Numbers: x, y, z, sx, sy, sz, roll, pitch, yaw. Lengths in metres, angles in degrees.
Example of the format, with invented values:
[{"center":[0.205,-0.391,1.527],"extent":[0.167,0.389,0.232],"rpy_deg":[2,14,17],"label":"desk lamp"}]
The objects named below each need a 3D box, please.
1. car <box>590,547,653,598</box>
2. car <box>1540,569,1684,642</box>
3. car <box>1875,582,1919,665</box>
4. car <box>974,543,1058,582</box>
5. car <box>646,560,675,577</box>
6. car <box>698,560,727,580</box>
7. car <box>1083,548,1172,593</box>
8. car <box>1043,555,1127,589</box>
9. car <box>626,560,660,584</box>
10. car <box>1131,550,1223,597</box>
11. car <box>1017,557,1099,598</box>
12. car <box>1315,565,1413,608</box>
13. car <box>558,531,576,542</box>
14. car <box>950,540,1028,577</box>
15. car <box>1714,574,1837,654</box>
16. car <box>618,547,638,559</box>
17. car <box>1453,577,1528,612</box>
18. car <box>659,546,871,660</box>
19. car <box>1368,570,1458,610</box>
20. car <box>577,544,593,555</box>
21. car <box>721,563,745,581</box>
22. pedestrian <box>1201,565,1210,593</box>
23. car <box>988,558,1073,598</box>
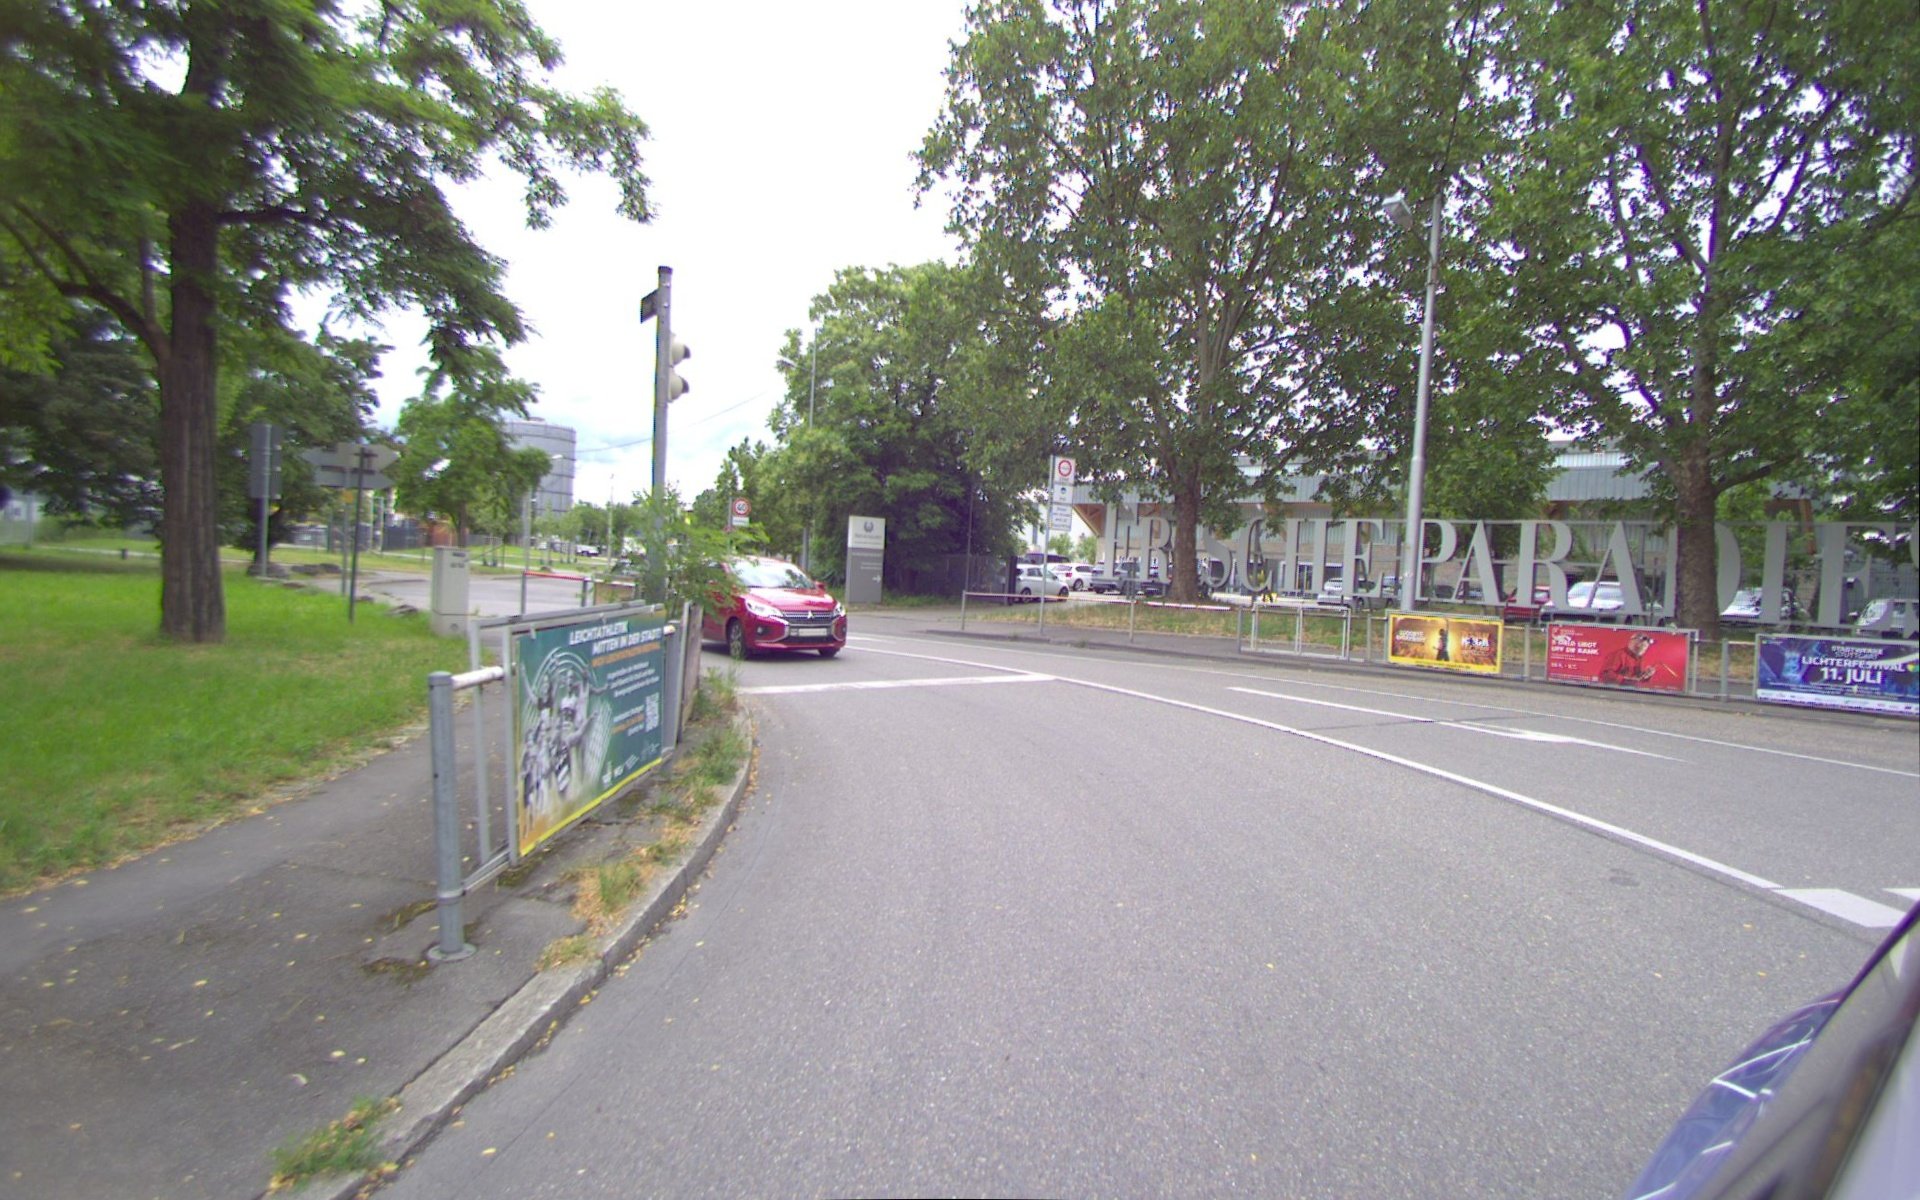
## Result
[{"center":[-12.326,-0.997,36.703],"extent":[1.811,1.656,4.194],"rpy_deg":[4,0,-22],"label":"car"},{"center":[17.010,0.169,26.310],"extent":[4.445,1.633,1.882],"rpy_deg":[3,2,-41],"label":"car"},{"center":[20.887,0.554,21.618],"extent":[3.932,1.633,1.589],"rpy_deg":[2,2,-43],"label":"car"},{"center":[3.364,-2.241,60.369],"extent":[5.014,2.023,1.997],"rpy_deg":[2,2,-42],"label":"car"},{"center":[-30.301,-3.221,102.283],"extent":[2.007,1.554,3.949],"rpy_deg":[-1,4,-29],"label":"car"},{"center":[-18.881,-2.304,77.229],"extent":[1.682,1.424,3.376],"rpy_deg":[3,1,-6],"label":"car"},{"center":[8.623,-1.513,51.885],"extent":[4.560,2.038,1.997],"rpy_deg":[2,2,-42],"label":"car"},{"center":[6.783,-1.516,54.638],"extent":[4.560,1.577,1.997],"rpy_deg":[2,2,-42],"label":"car"},{"center":[-22.570,-2.017,72.176],"extent":[2.005,1.554,3.952],"rpy_deg":[0,4,-13],"label":"car"},{"center":[10.599,-1.289,49.299],"extent":[4.560,2.038,1.997],"rpy_deg":[2,2,-42],"label":"car"},{"center":[5.557,-1.244,57.289],"extent":[4.560,2.038,1.997],"rpy_deg":[2,2,-42],"label":"car"},{"center":[17.069,-0.545,42.682],"extent":[4.560,1.580,1.997],"rpy_deg":[2,2,-42],"label":"car"},{"center":[-62.358,-10.011,160.504],"extent":[2.006,1.555,3.949],"rpy_deg":[2,2,-29],"label":"car"},{"center":[1.825,-2.578,63.326],"extent":[4.740,2.038,1.997],"rpy_deg":[2,2,-42],"label":"car"},{"center":[19.096,0.344,23.635],"extent":[4.244,1.633,1.589],"rpy_deg":[2,2,-43],"label":"car"},{"center":[-47.312,-6.756,144.211],"extent":[2.006,1.555,3.949],"rpy_deg":[2,2,-29],"label":"car"},{"center":[28.099,-0.273,53.548],"extent":[4.560,1.580,1.997],"rpy_deg":[2,2,-42],"label":"car"},{"center":[-3.102,-0.040,15.505],"extent":[1.701,1.483,3.835],"rpy_deg":[0,3,-36],"label":"car"},{"center":[20.598,-0.438,45.963],"extent":[4.560,1.580,1.997],"rpy_deg":[2,2,-42],"label":"car"},{"center":[-63.524,-8.528,171.381],"extent":[2.005,1.555,3.950],"rpy_deg":[4,1,-26],"label":"car"},{"center":[-19.733,-2.468,88.084],"extent":[1.682,1.424,3.376],"rpy_deg":[3,1,-6],"label":"car"},{"center":[16.042,-1.391,66.074],"extent":[0.338,1.787,0.434],"rpy_deg":[4,0,25],"label":"pedestrian"},{"center":[2.996,-0.919,42.711],"extent":[1.477,1.523,3.670],"rpy_deg":[5,2,44],"label":"car"}]
